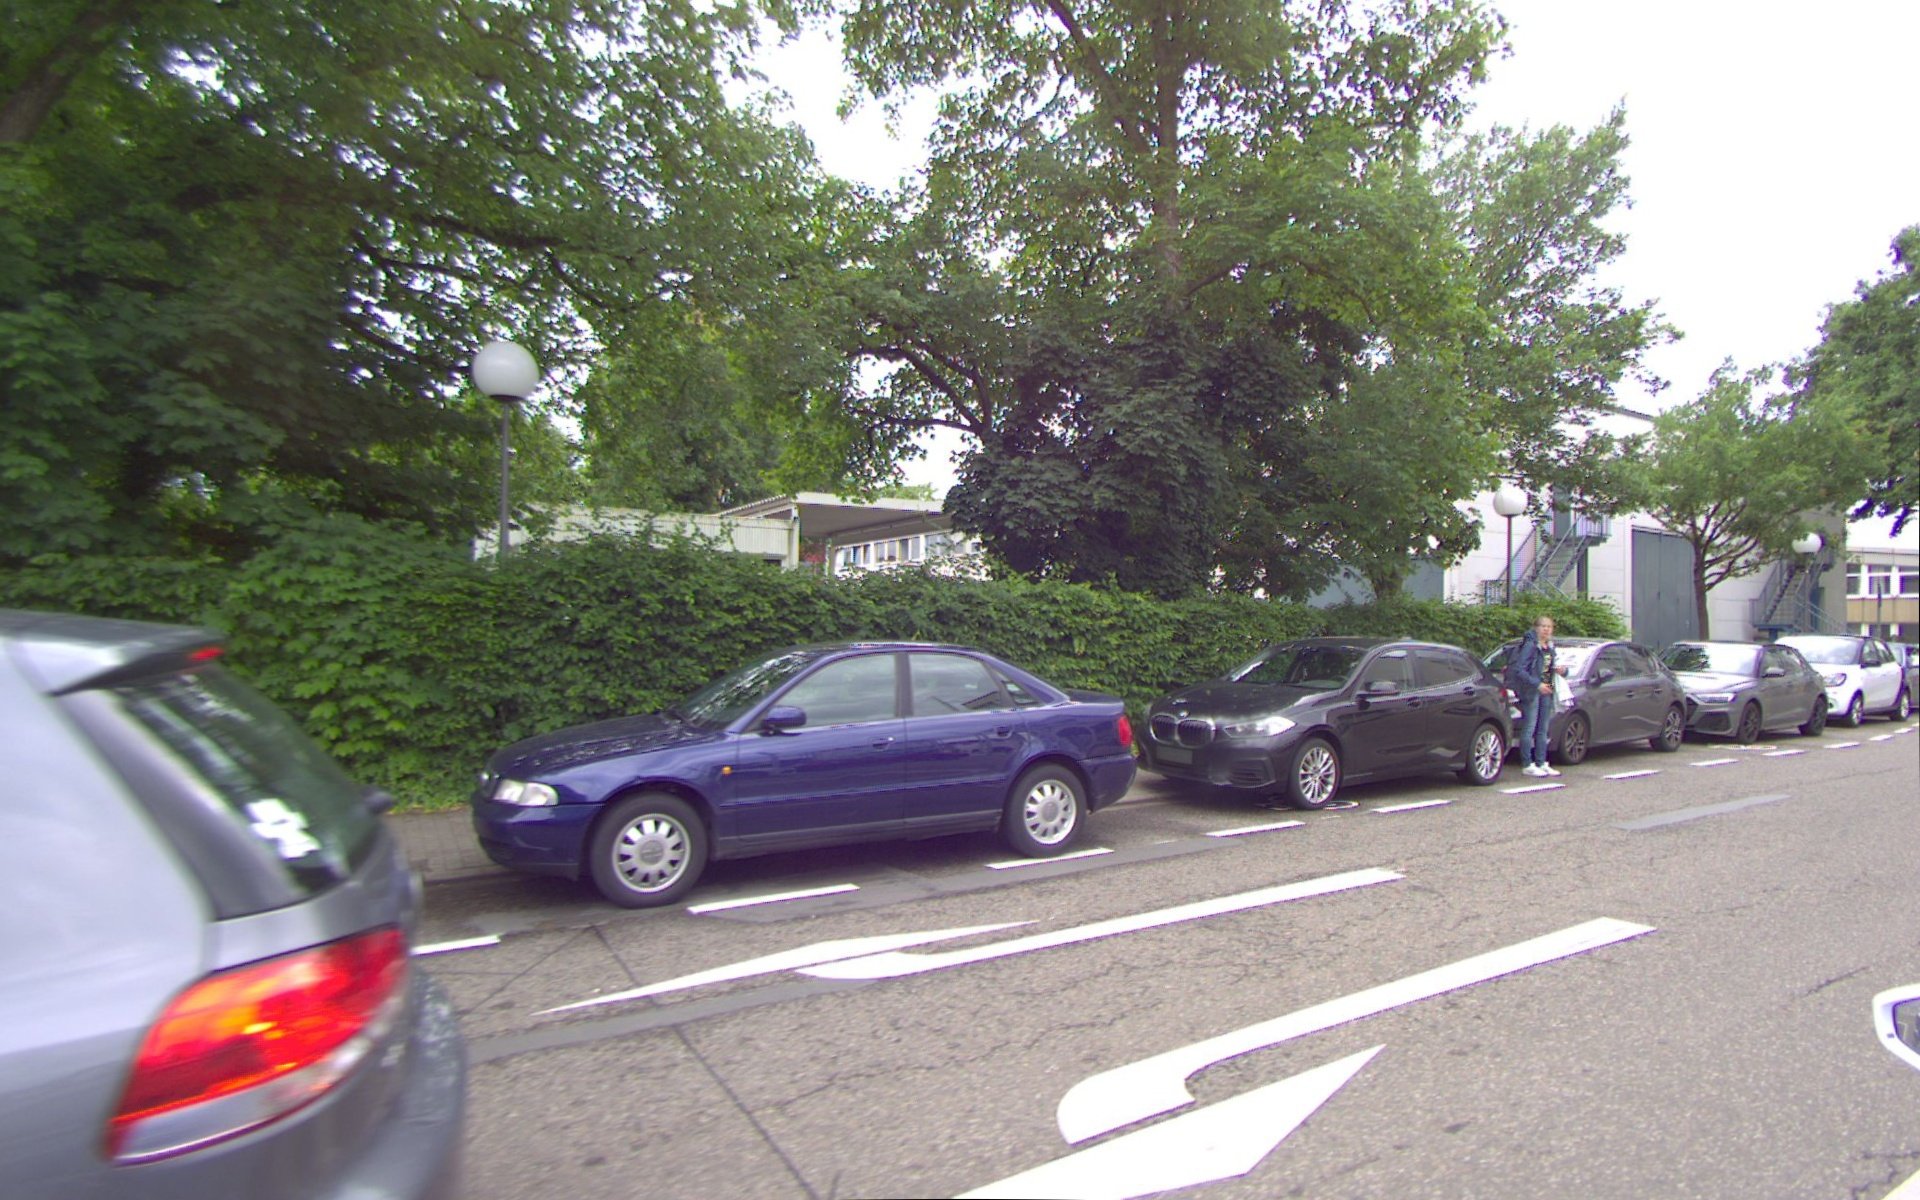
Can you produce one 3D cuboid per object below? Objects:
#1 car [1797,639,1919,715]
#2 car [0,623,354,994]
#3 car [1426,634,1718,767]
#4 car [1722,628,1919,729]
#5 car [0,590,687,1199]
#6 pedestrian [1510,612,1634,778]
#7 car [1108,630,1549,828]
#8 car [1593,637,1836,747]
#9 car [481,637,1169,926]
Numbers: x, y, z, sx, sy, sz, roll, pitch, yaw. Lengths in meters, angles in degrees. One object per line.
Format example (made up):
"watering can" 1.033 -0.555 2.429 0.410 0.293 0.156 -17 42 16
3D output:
"car" 19.632 1.564 21.343 4.151 1.407 1.806 1 -1 -35
"car" -5.126 0.840 4.345 4.198 1.489 1.789 2 -2 -30
"car" 8.004 1.213 13.084 3.782 1.490 1.752 2 -3 -32
"car" 15.625 1.331 18.188 3.835 1.607 1.706 1 -1 -33
"car" -2.577 0.736 1.000 4.122 1.517 1.773 2 -3 -32
"pedestrian" 6.566 0.983 10.793 0.956 1.683 0.735 0 -2 -30
"car" 3.772 1.096 10.040 4.480 1.581 1.788 1 -2 -32
"car" 11.551 1.308 15.327 3.966 1.430 1.753 1 -2 -34
"car" -0.828 0.985 6.803 4.282 1.426 1.791 2 -2 -28
